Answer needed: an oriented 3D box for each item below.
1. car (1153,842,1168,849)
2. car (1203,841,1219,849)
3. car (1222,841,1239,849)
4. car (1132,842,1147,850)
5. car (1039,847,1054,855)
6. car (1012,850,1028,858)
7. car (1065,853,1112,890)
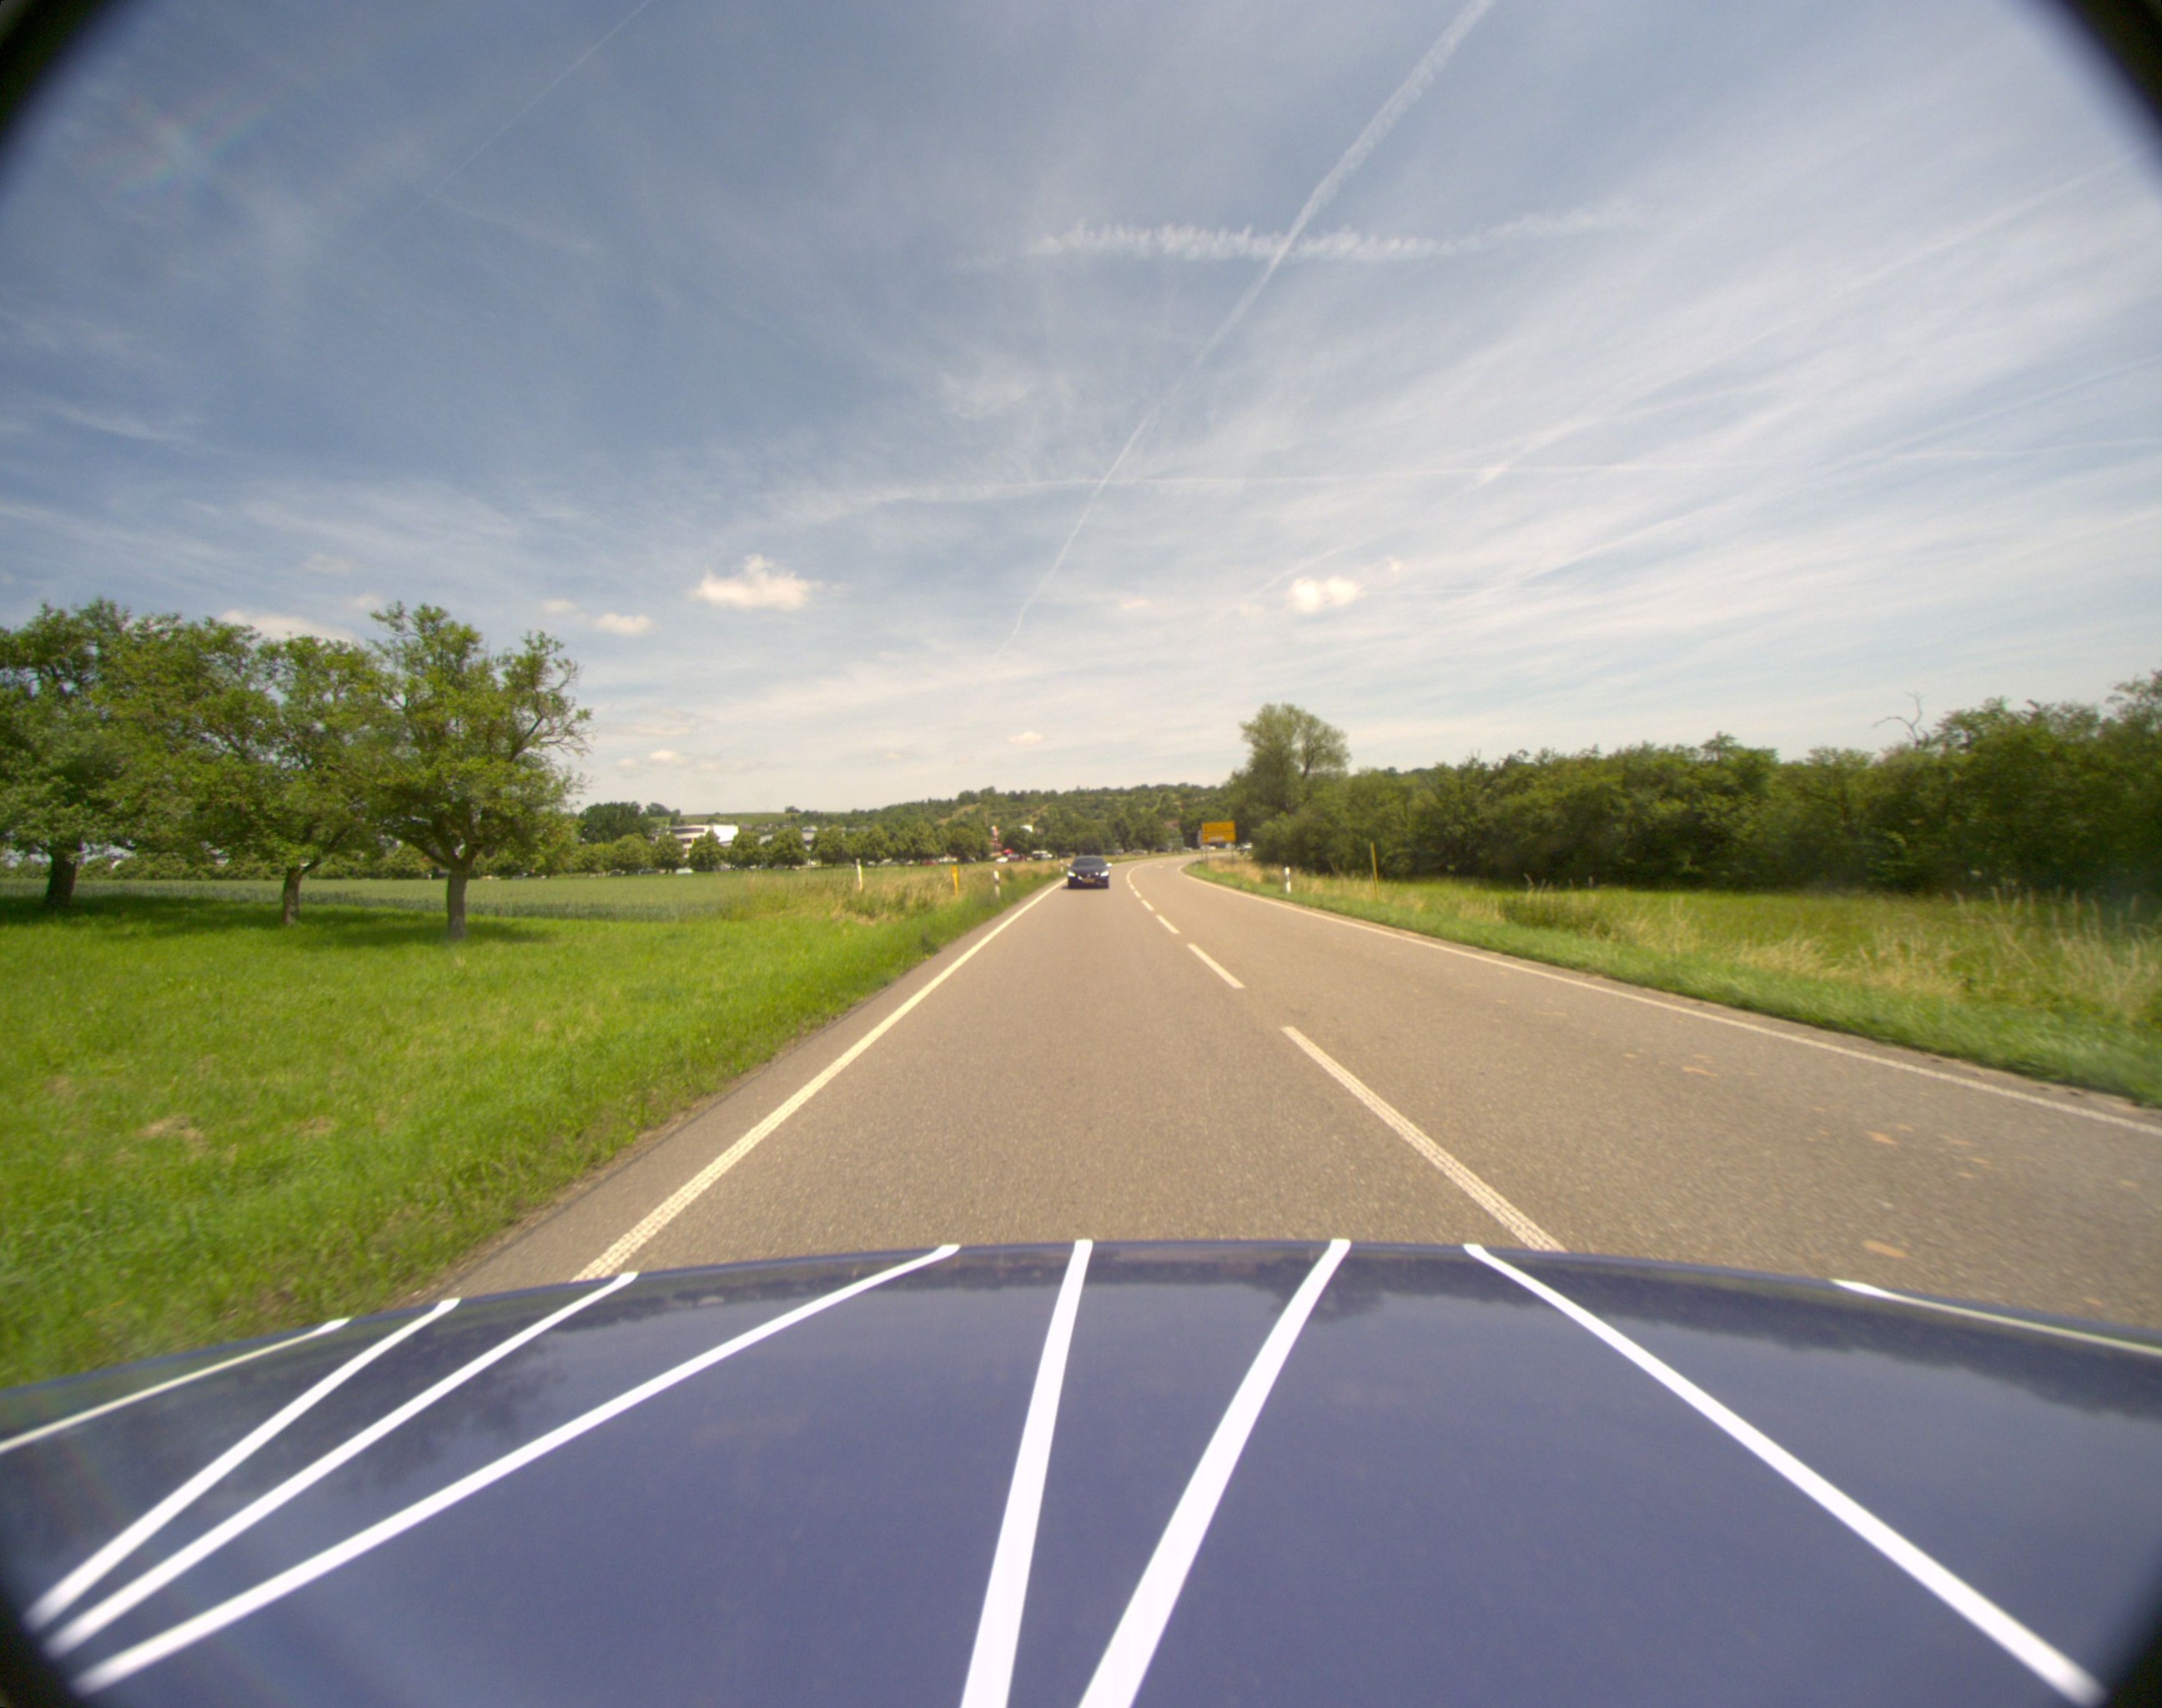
[{"bbox_3d":[21.920,-2.393,210.274,3.994,2.002,1.889,-1,1,9],"label":"car"},{"bbox_3d":[34.901,-2.393,204.055,3.989,2.002,1.891,0,1,30],"label":"car"},{"bbox_3d":[39.654,-2.478,201.407,3.989,2.002,1.891,0,1,30],"label":"car"},{"bbox_3d":[16.364,-2.230,211.021,3.994,2.002,1.889,-1,1,9],"label":"car"},{"bbox_3d":[-9.701,-0.833,214.176,3.997,2.002,1.887,-1,1,-1],"label":"car"},{"bbox_3d":[-17.228,-0.044,213.862,4.469,2.002,1.887,-1,1,-3],"label":"car"},{"bbox_3d":[0.419,0.737,34.269,1.784,1.440,4.605,-1,1,5],"label":"car"}]
